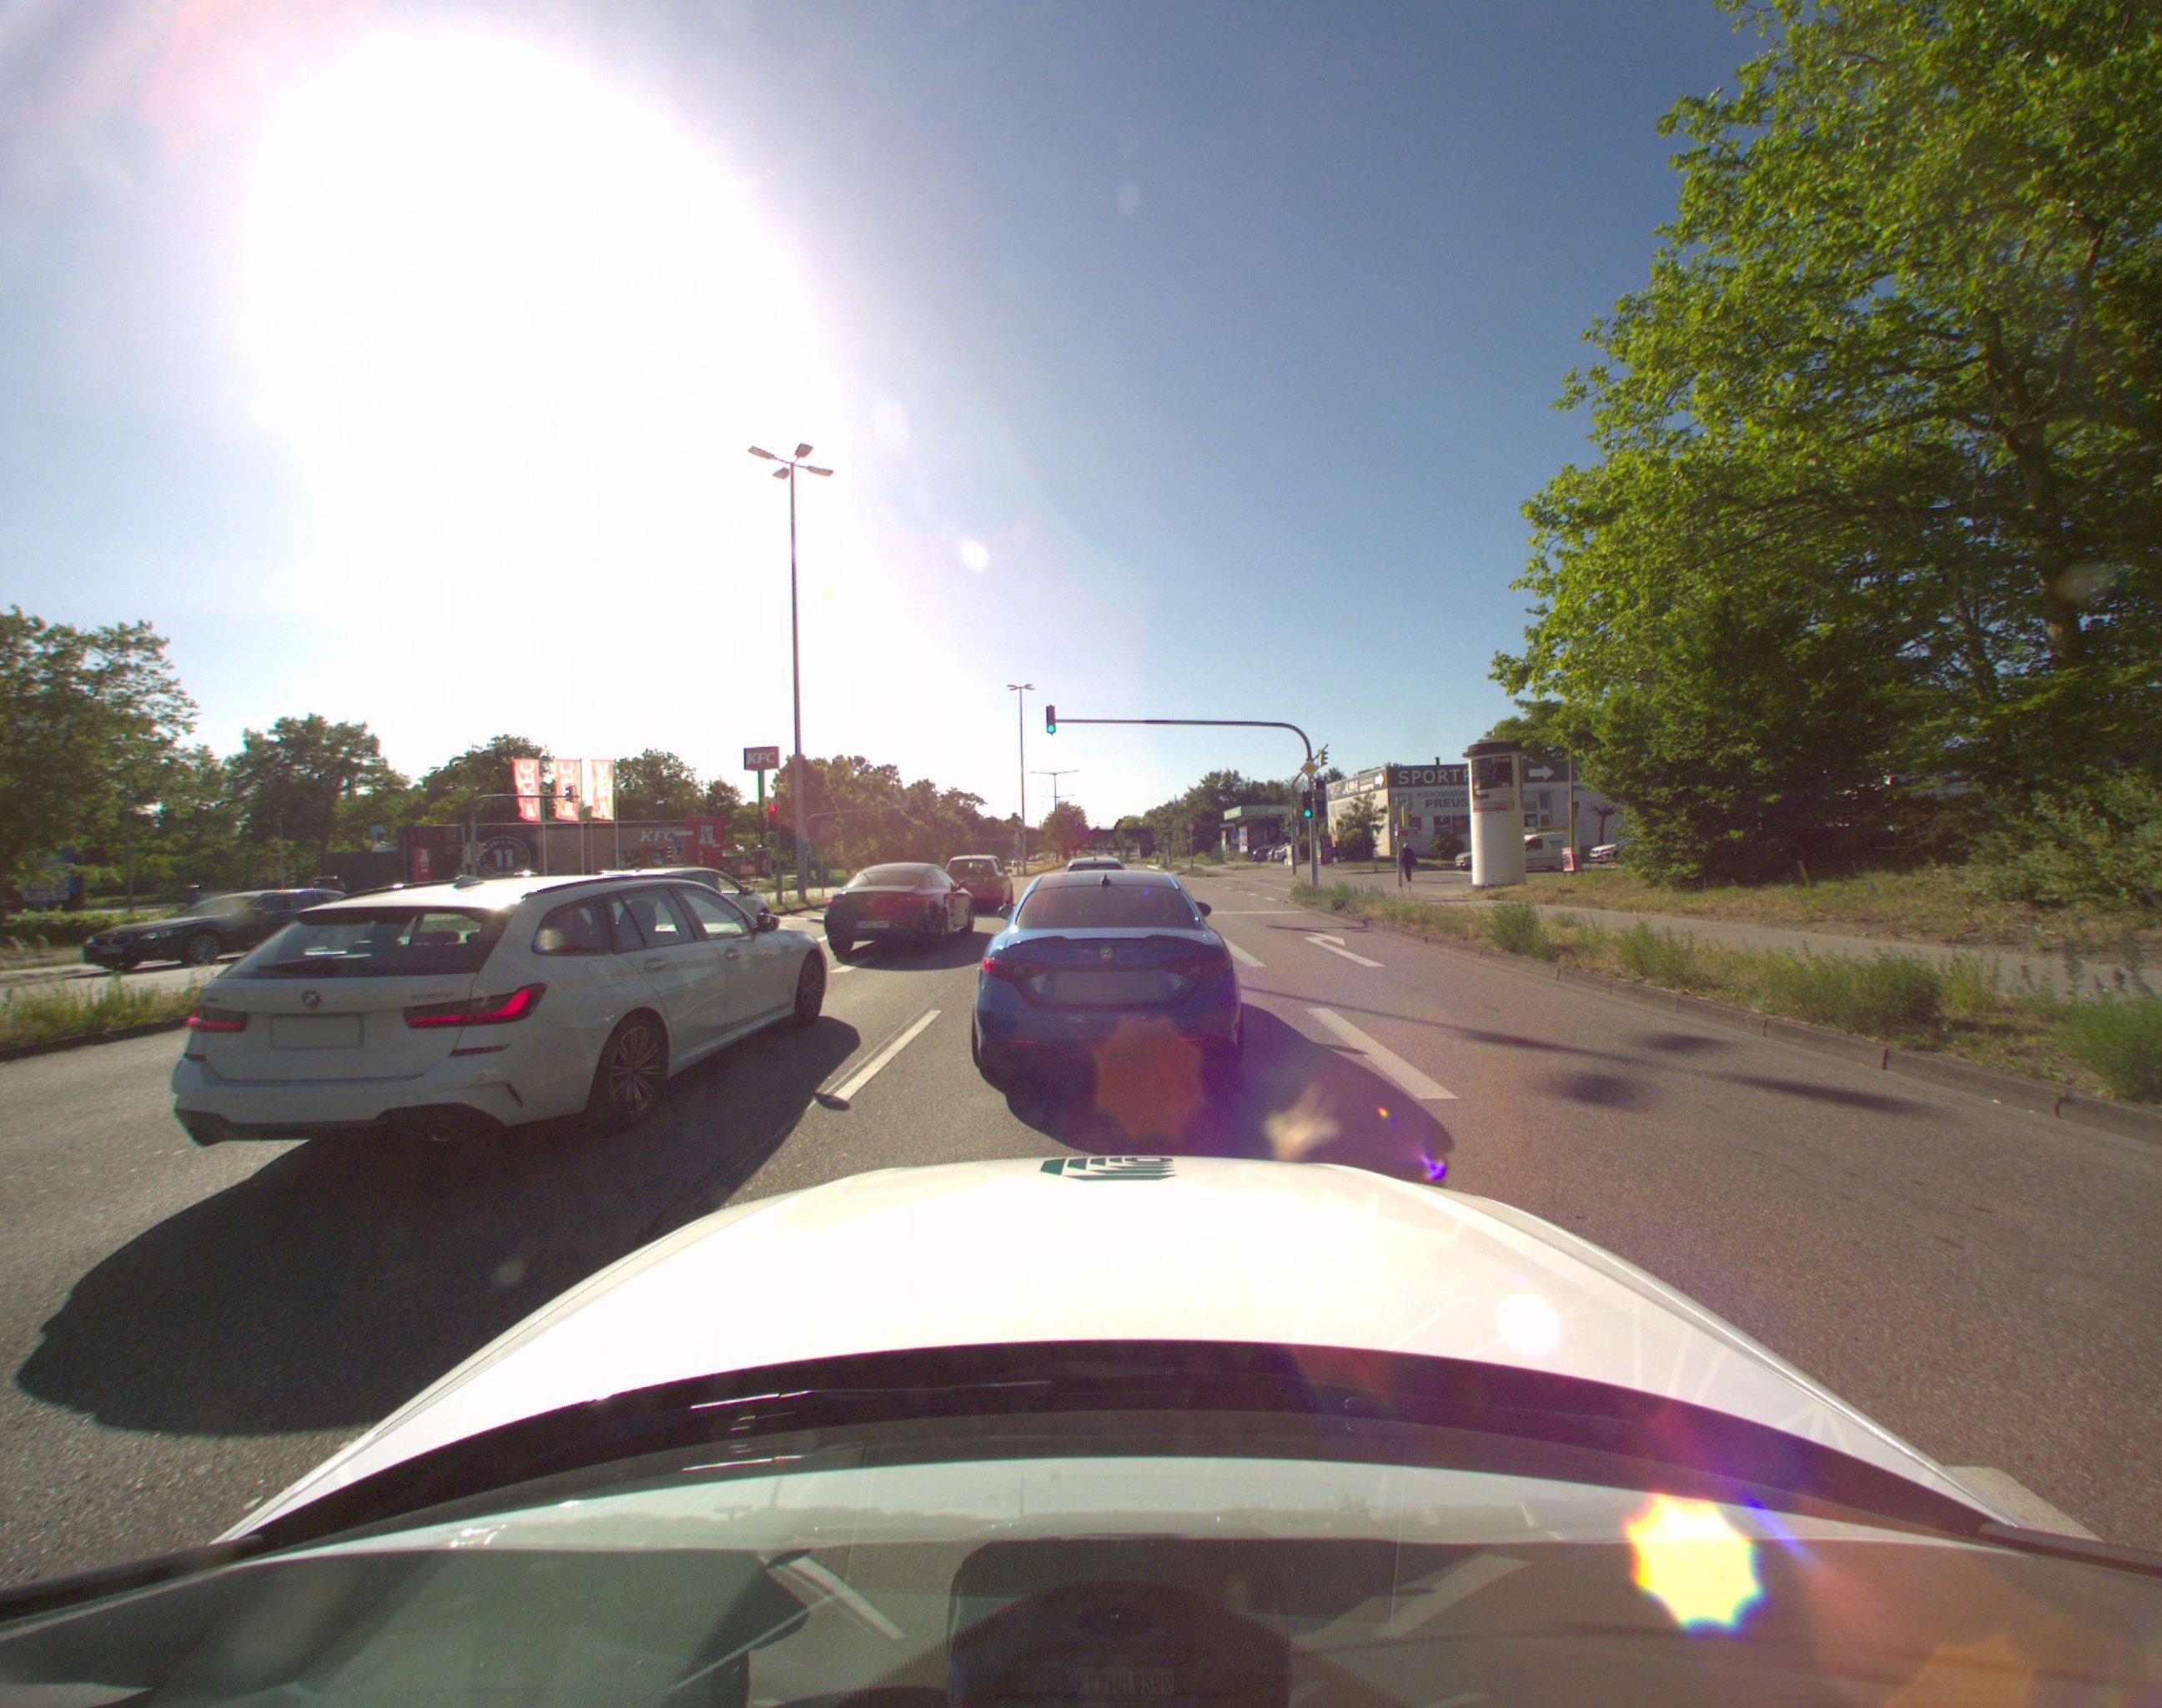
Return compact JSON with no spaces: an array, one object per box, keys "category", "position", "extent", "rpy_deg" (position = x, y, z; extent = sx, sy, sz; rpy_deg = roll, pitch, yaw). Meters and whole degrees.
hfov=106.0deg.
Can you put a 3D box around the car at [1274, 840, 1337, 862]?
[{"category":"car","position":[17.609,-0.201,64.050],"extent":[4.470,1.454,1.860],"rpy_deg":[-4,-1,3]}]

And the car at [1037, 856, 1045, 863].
[{"category":"car","position":[-10.054,1.323,205.551],"extent":[1.603,1.647,3.464],"rpy_deg":[0,-1,2]}]

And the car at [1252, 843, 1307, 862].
[{"category":"car","position":[17.970,-0.135,73.853],"extent":[4.470,1.454,1.860],"rpy_deg":[-4,-1,3]}]

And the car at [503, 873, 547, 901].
[{"category":"car","position":[-37.325,2.177,54.770],"extent":[2.005,1.765,4.315],"rpy_deg":[0,-1,-29]}]

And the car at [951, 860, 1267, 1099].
[{"category":"car","position":[0.199,0.780,7.105],"extent":[1.889,1.418,4.403],"rpy_deg":[0,-1,1]}]

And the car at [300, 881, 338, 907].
[{"category":"car","position":[-52.360,2.718,56.004],"extent":[1.670,1.673,3.897],"rpy_deg":[0,-1,-40]}]

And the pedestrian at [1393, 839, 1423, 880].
[{"category":"pedestrian","position":[14.140,0.228,35.223],"extent":[0.922,1.735,0.939],"rpy_deg":[0,-1,1]}]

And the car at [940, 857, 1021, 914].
[{"category":"car","position":[-2.861,0.870,24.043],"extent":[1.753,1.490,4.403],"rpy_deg":[0,-1,1]}]

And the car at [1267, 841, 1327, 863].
[{"category":"car","position":[17.767,-0.166,67.138],"extent":[4.470,1.454,1.860],"rpy_deg":[-4,-1,3]}]

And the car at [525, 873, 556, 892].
[{"category":"car","position":[-43.133,2.234,64.969],"extent":[1.670,1.471,3.872],"rpy_deg":[0,-1,-40]}]

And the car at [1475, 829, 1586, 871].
[{"category":"car","position":[21.642,-0.203,39.286],"extent":[4.367,1.801,1.765],"rpy_deg":[-3,1,0]}]

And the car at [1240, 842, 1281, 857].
[{"category":"car","position":[21.328,-0.553,97.008],"extent":[4.532,1.490,1.766],"rpy_deg":[-4,-1,3]}]

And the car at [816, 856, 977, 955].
[{"category":"car","position":[-3.066,0.802,14.520],"extent":[1.790,1.490,4.476],"rpy_deg":[0,-1,1]}]

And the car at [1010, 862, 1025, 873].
[{"category":"car","position":[-9.254,1.915,119.149],"extent":[1.752,1.490,3.838],"rpy_deg":[-4,-1,2]}]

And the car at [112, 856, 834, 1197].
[{"category":"car","position":[-3.353,0.785,5.806],"extent":[1.779,1.490,4.403],"rpy_deg":[0,-1,1]}]

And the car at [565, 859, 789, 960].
[{"category":"car","position":[-6.752,0.847,14.186],"extent":[1.753,1.490,4.197],"rpy_deg":[0,-1,1]}]

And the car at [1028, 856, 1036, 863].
[{"category":"car","position":[-11.219,1.355,186.405],"extent":[1.609,1.559,3.359],"rpy_deg":[0,-1,2]}]

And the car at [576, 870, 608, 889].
[{"category":"car","position":[-40.161,2.053,66.823],"extent":[1.670,1.471,3.872],"rpy_deg":[0,-1,-40]}]

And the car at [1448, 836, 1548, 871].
[{"category":"car","position":[21.774,-0.045,42.620],"extent":[4.273,1.549,1.765],"rpy_deg":[-3,1,0]}]

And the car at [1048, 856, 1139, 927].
[{"category":"car","position":[0.293,0.792,18.806],"extent":[1.844,1.418,4.403],"rpy_deg":[0,-1,1]}]

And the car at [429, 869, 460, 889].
[{"category":"car","position":[-47.626,1.855,60.901],"extent":[1.670,1.471,3.872],"rpy_deg":[0,-1,-40]}]

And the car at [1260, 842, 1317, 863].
[{"category":"car","position":[17.808,-0.125,69.999],"extent":[4.470,1.454,1.860],"rpy_deg":[-4,-1,3]}]

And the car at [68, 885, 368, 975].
[{"category":"car","position":[-18.938,1.587,18.249],"extent":[1.752,1.490,4.480],"rpy_deg":[-5,-1,2]}]

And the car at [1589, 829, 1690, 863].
[{"category":"car","position":[29.183,-0.399,42.655],"extent":[4.028,1.490,1.782],"rpy_deg":[-3,-1,-1]}]

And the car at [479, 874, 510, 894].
[{"category":"car","position":[-45.625,2.299,63.316],"extent":[1.670,1.471,3.872],"rpy_deg":[0,-1,-40]}]

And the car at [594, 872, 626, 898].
[{"category":"car","position":[-33.655,2.181,58.248],"extent":[1.920,1.752,4.315],"rpy_deg":[0,-1,-29]}]
